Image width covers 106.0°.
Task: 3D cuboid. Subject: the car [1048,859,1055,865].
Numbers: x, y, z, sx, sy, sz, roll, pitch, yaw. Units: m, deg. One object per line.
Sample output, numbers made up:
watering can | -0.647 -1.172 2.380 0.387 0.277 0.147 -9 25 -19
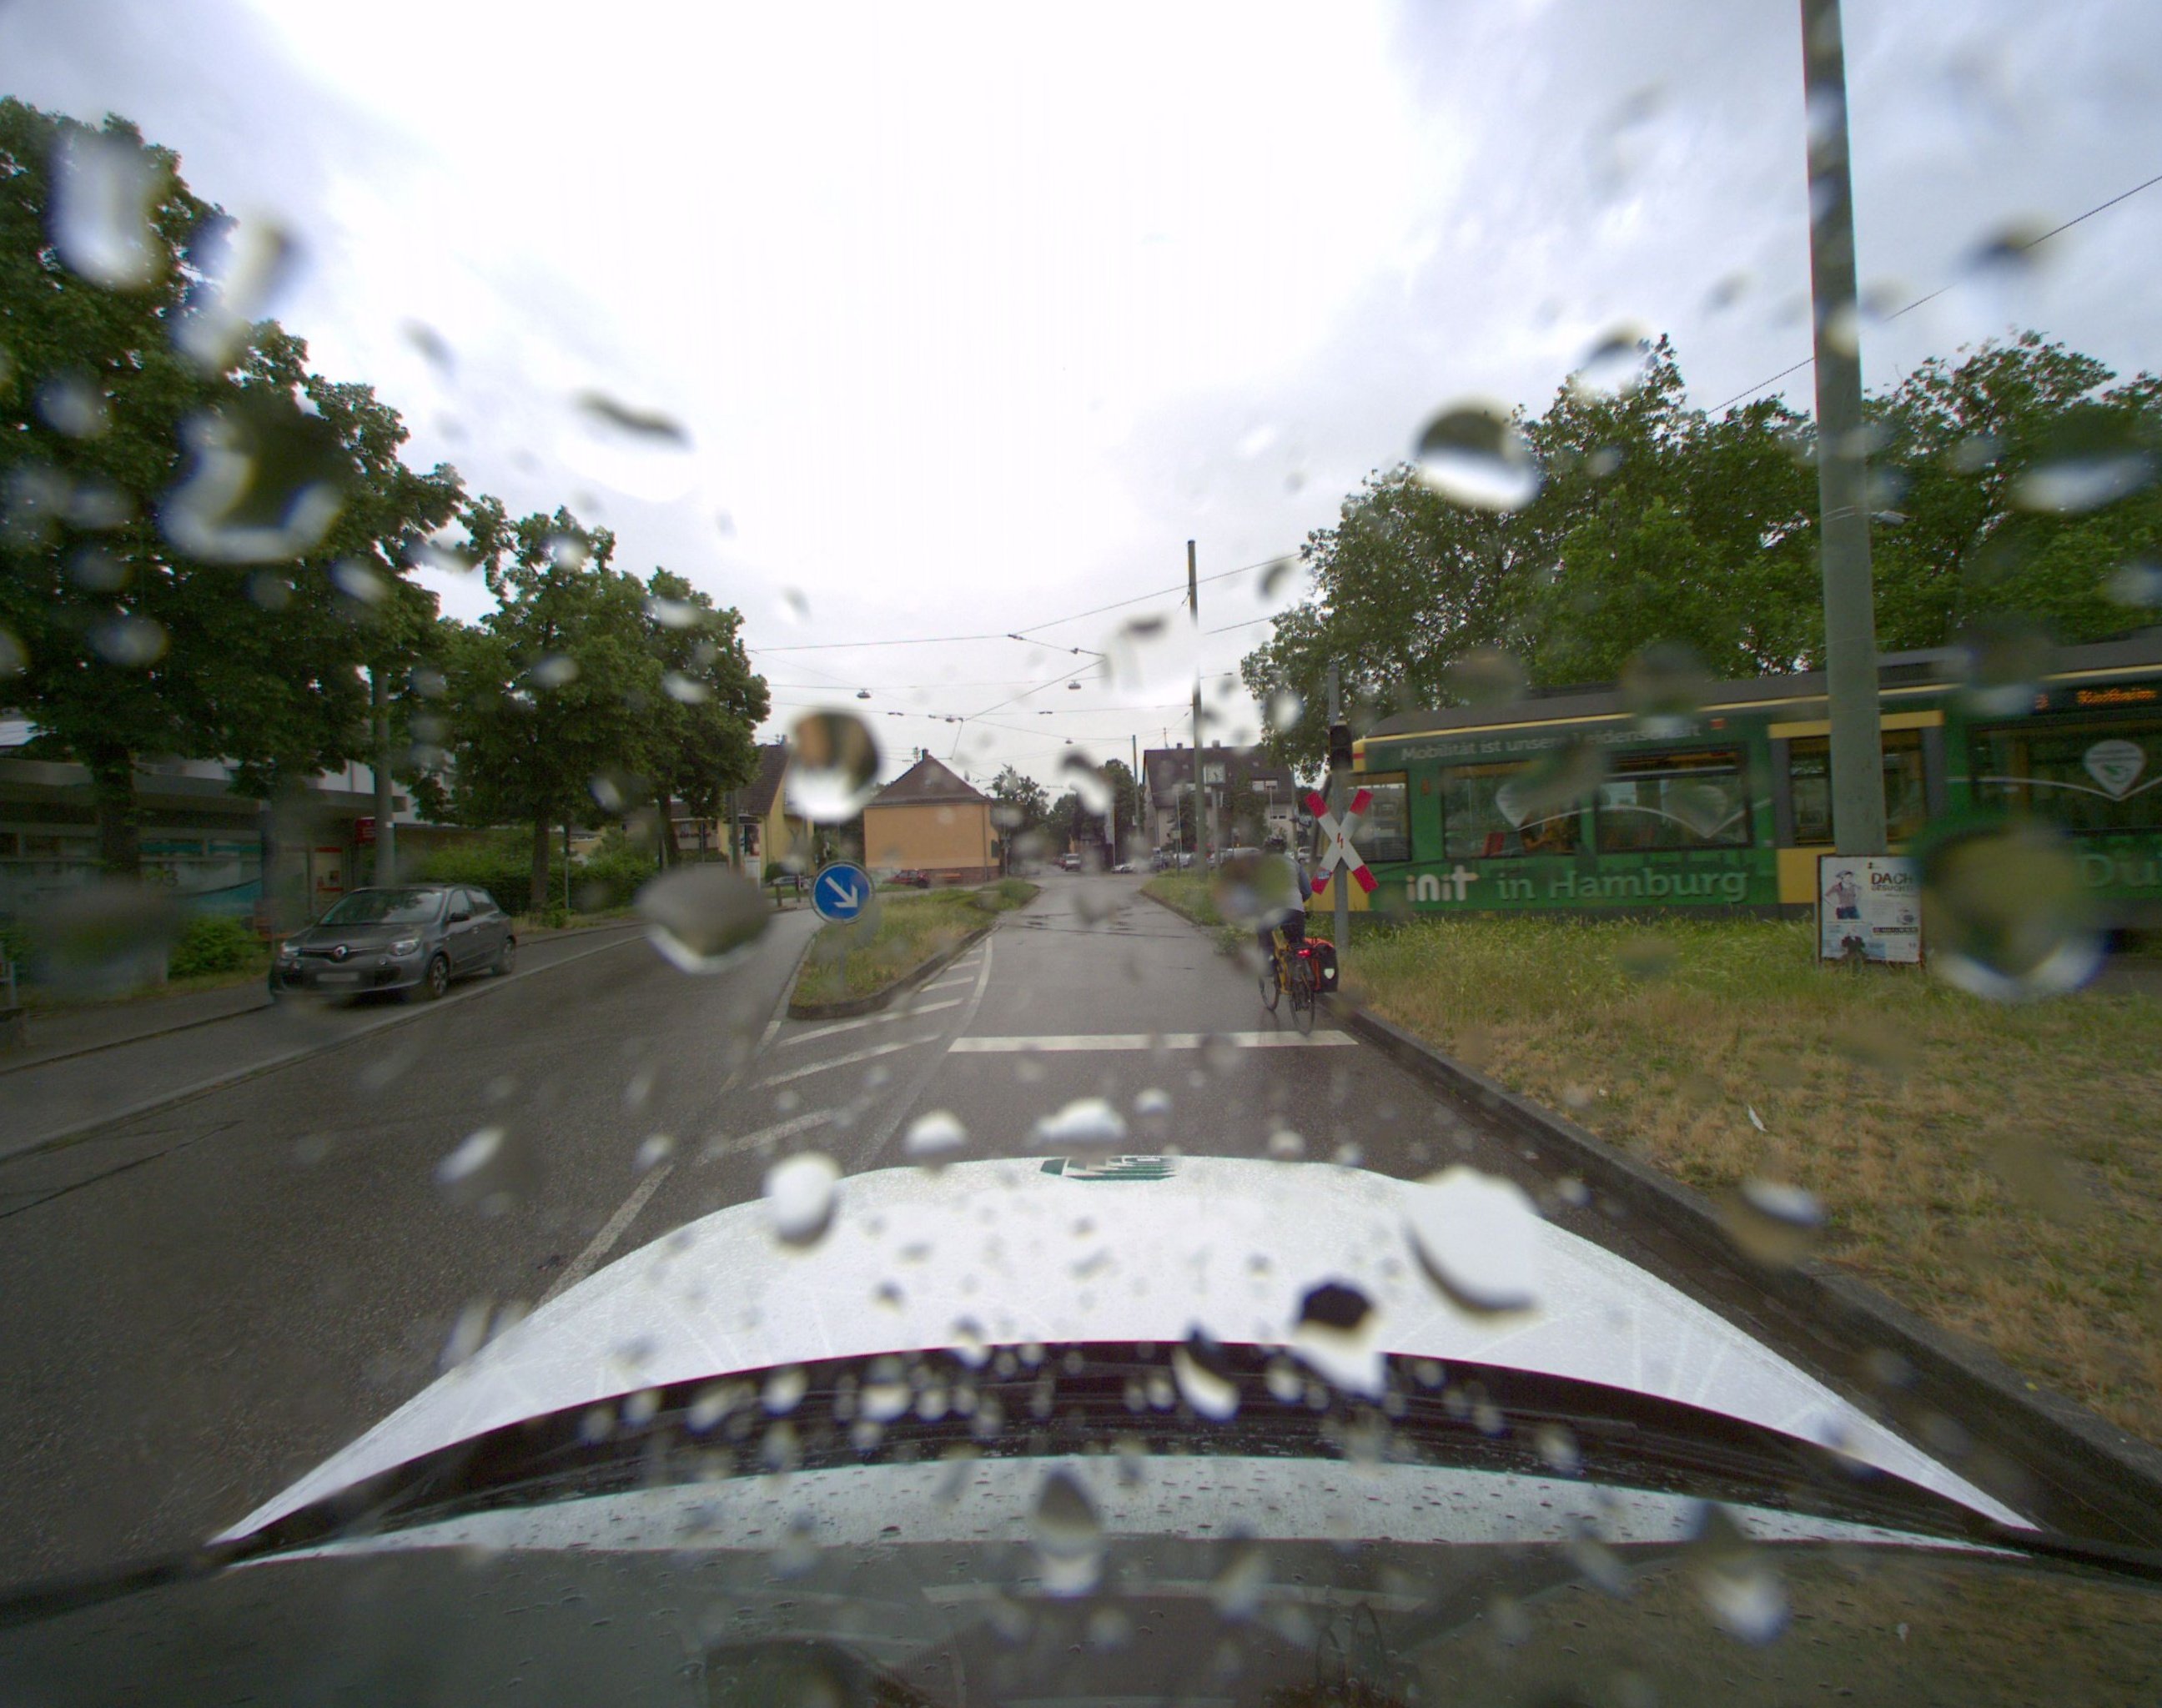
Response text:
car | -7.678 2.144 211.667 1.799 1.564 3.999 0 -1 0

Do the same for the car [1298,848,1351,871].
car | 19.324 0.441 64.771 3.670 1.701 1.891 0 -1 2

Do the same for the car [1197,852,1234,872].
car | 11.639 0.683 70.209 1.975 1.640 4.024 -1 -1 27

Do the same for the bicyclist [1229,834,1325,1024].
bicyclist | 1.758 0.649 7.421 0.665 1.626 0.853 0 -1 1

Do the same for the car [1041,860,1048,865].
car | -10.117 2.432 228.781 1.799 1.461 3.999 0 -1 0

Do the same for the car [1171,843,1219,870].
car | 11.193 0.254 79.681 4.362 2.566 2.008 -1 -1 16

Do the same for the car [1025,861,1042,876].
car | -5.590 1.688 95.983 1.799 1.651 3.999 0 -1 0

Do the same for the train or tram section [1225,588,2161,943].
train or tram section | 8.703 -0.799 10.655 12.975 3.553 2.784 -3 -1 22

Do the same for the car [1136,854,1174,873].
car | 6.662 0.864 72.743 1.975 1.640 4.024 -1 -1 27

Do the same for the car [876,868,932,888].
car | -13.651 1.859 63.035 3.979 1.456 1.830 0 -1 -5

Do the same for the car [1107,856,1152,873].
car | 4.755 1.027 79.955 4.015 1.643 1.979 0 -2 -34

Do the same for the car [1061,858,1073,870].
car | -2.210 1.534 128.150 1.799 1.811 3.999 0 -1 0

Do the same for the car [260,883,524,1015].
car | -9.696 1.225 11.842 1.621 1.496 3.645 0 -1 -18

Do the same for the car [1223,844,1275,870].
car | 15.641 0.294 76.003 4.381 2.325 1.999 0 -1 0

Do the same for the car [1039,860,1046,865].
car | -10.986 2.508 234.234 1.799 1.461 3.999 0 -1 0

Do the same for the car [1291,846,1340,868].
car | 21.822 0.301 75.890 3.974 1.951 1.999 0 -1 -1

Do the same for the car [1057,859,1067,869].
car | -3.429 1.792 147.675 1.799 1.811 3.999 0 -1 0

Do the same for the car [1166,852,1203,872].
car | 9.107 0.718 71.439 1.975 1.640 4.024 -1 -1 27

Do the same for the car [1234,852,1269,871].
car | 14.754 0.661 70.353 1.975 1.640 4.024 -1 -1 27

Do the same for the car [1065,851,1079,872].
car | -1.114 0.992 108.240 1.799 2.627 3.999 0 -1 0

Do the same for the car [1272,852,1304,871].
car | 17.988 0.640 70.666 1.823 1.640 4.024 -1 -1 27

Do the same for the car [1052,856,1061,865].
car | -4.905 1.404 164.962 1.799 1.811 3.999 0 -1 0

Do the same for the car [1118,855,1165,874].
car | 5.727 0.980 76.858 4.015 1.675 1.979 0 -1 -34

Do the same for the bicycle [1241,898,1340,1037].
bicycle | 1.857 0.963 7.425 0.444 1.004 1.728 -2 0 1
